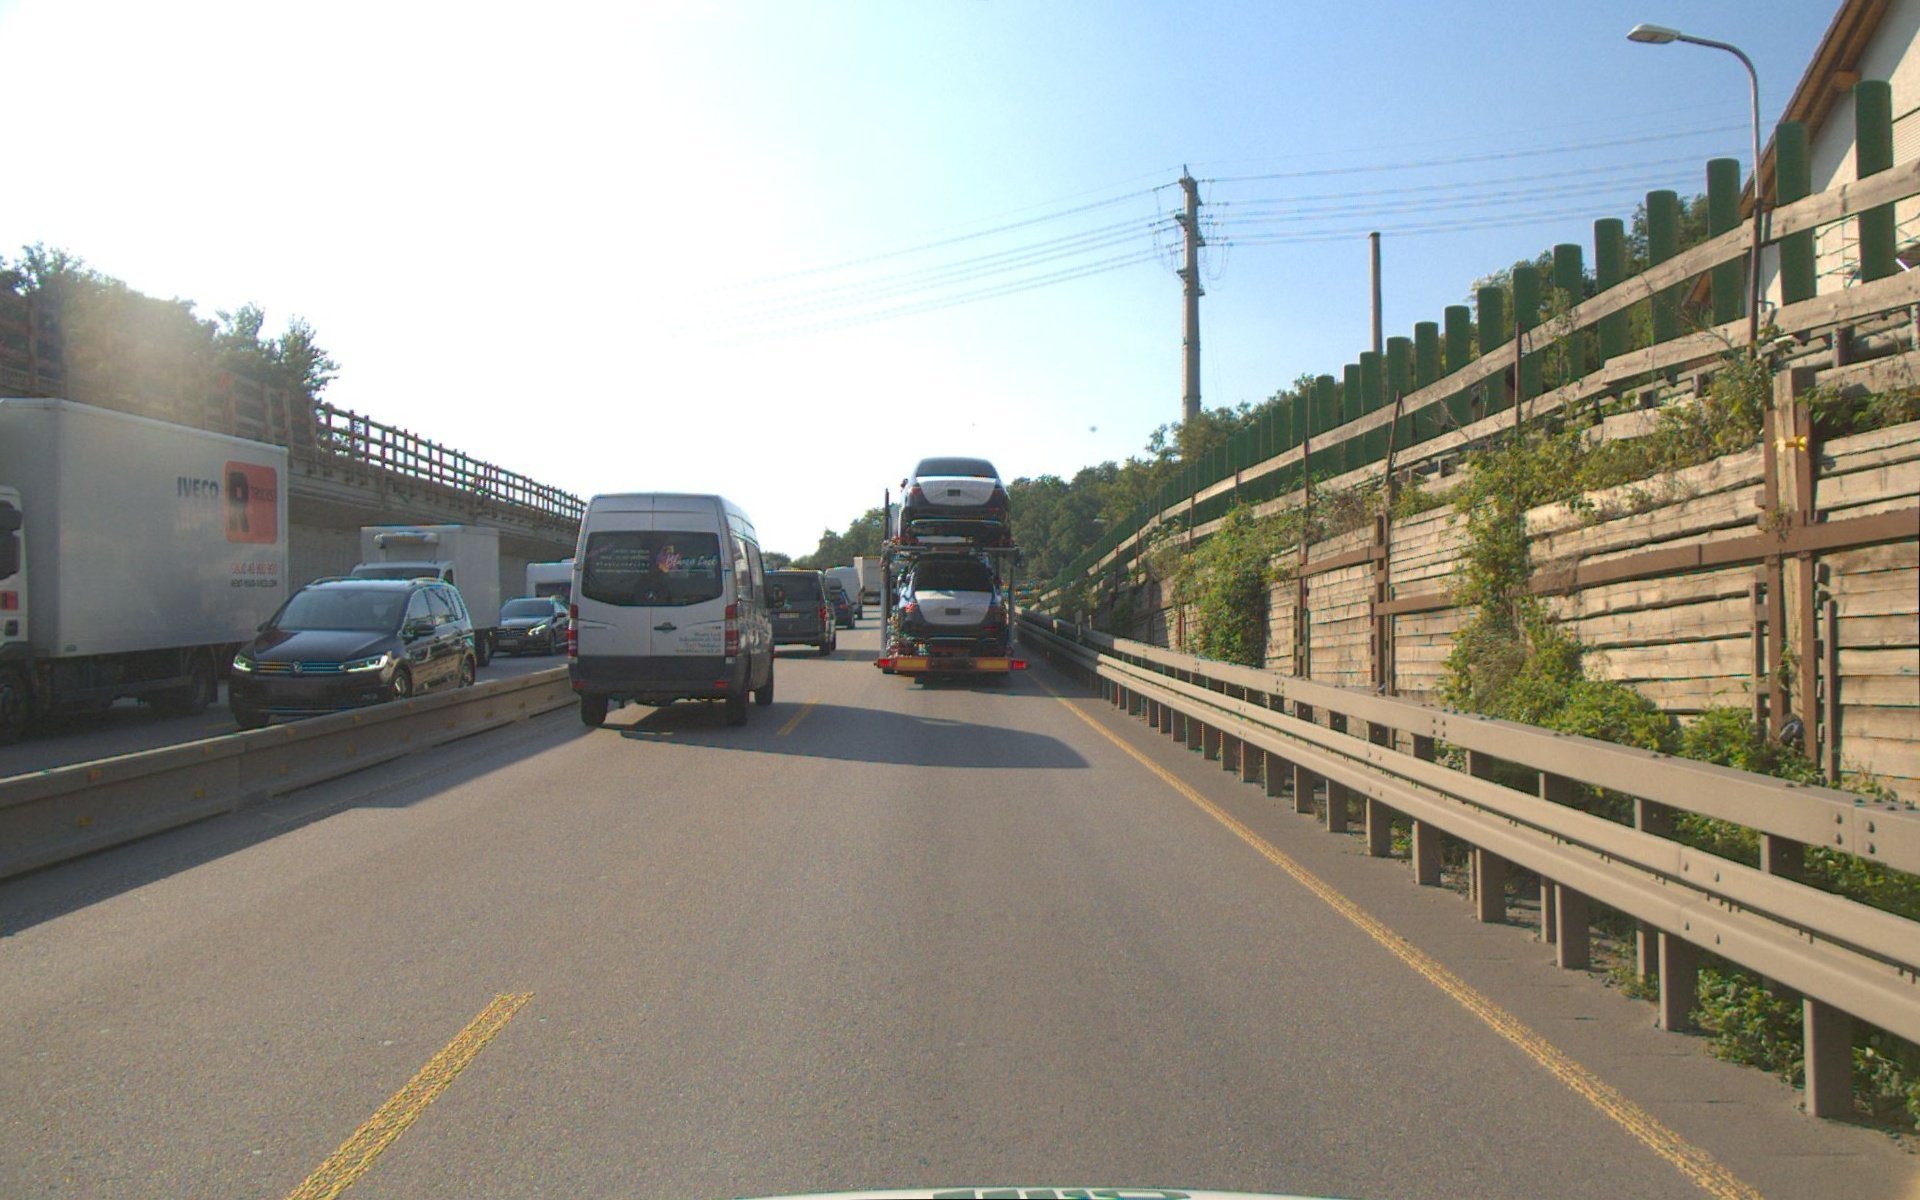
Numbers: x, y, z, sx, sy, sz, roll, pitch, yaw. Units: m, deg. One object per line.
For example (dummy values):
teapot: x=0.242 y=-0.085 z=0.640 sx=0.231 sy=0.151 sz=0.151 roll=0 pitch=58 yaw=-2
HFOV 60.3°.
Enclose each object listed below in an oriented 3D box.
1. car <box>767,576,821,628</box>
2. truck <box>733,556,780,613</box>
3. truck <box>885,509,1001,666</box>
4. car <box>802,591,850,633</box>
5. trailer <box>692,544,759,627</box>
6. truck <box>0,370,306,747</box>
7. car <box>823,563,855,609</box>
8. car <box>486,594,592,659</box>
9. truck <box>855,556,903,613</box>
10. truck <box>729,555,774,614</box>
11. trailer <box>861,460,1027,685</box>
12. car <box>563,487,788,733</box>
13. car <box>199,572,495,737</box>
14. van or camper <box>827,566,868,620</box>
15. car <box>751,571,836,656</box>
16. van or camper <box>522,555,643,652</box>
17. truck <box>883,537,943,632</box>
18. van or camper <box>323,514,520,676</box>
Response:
car: x=-8.417 y=0.113 z=84.091 sx=2.421 sy=2.578 sz=3.999 roll=0 pitch=-1 yaw=-1
truck: x=-16.299 y=-1.185 z=133.240 sx=2.924 sy=4.226 sz=15.840 roll=1 pitch=0 yaw=-4
truck: x=-0.422 y=-0.258 z=42.018 sx=2.628 sy=3.597 sz=7.192 roll=1 pitch=-1 yaw=-1
car: x=-5.213 y=0.455 z=64.708 sx=1.691 sy=1.549 sz=3.971 roll=1 pitch=0 yaw=-2
trailer: x=-12.769 y=-0.796 z=90.834 sx=2.554 sy=4.184 sz=9.623 roll=-3 pitch=1 yaw=-3
truck: x=-10.282 y=-0.300 z=18.716 sx=2.660 sy=3.484 sz=8.137 roll=-2 pitch=-1 yaw=-2
car: x=-13.827 y=-1.575 z=190.083 sx=3.376 sy=5.123 sz=9.646 roll=1 pitch=0 yaw=-3
car: x=-10.857 y=0.650 z=42.939 sx=1.607 sy=1.557 sz=4.782 roll=-1 pitch=0 yaw=-1
truck: x=-7.164 y=-1.303 z=145.105 sx=3.985 sy=4.761 sz=10.583 roll=0 pitch=0 yaw=-4
truck: x=-15.637 y=-1.150 z=124.293 sx=2.924 sy=4.226 sz=7.385 roll=1 pitch=0 yaw=-4
trailer: x=-0.327 y=-0.365 z=34.452 sx=2.628 sy=3.597 sz=15.285 roll=1 pitch=-1 yaw=-1
car: x=-3.407 y=0.095 z=20.913 sx=1.953 sy=2.694 sz=5.529 roll=0 pitch=0 yaw=-1
car: x=-7.027 y=0.597 z=19.539 sx=1.795 sy=1.674 sz=4.687 roll=1 pitch=-1 yaw=-1
van or camper: x=-5.810 y=-0.319 z=85.856 sx=1.929 sy=2.637 sz=5.039 roll=1 pitch=-1 yaw=-2
car: x=-4.009 y=0.352 z=40.386 sx=1.772 sy=1.937 sz=3.998 roll=1 pitch=-1 yaw=-2
van or camper: x=-11.353 y=0.087 z=50.307 sx=2.265 sy=2.709 sz=6.453 roll=-1 pitch=0 yaw=-1
truck: x=-2.502 y=-0.752 z=85.698 sx=2.850 sy=4.687 sz=7.280 roll=0 pitch=0 yaw=-4
van or camper: x=-11.029 y=-0.062 z=34.456 sx=2.273 sy=3.041 sz=6.220 roll=-1 pitch=-1 yaw=-2
